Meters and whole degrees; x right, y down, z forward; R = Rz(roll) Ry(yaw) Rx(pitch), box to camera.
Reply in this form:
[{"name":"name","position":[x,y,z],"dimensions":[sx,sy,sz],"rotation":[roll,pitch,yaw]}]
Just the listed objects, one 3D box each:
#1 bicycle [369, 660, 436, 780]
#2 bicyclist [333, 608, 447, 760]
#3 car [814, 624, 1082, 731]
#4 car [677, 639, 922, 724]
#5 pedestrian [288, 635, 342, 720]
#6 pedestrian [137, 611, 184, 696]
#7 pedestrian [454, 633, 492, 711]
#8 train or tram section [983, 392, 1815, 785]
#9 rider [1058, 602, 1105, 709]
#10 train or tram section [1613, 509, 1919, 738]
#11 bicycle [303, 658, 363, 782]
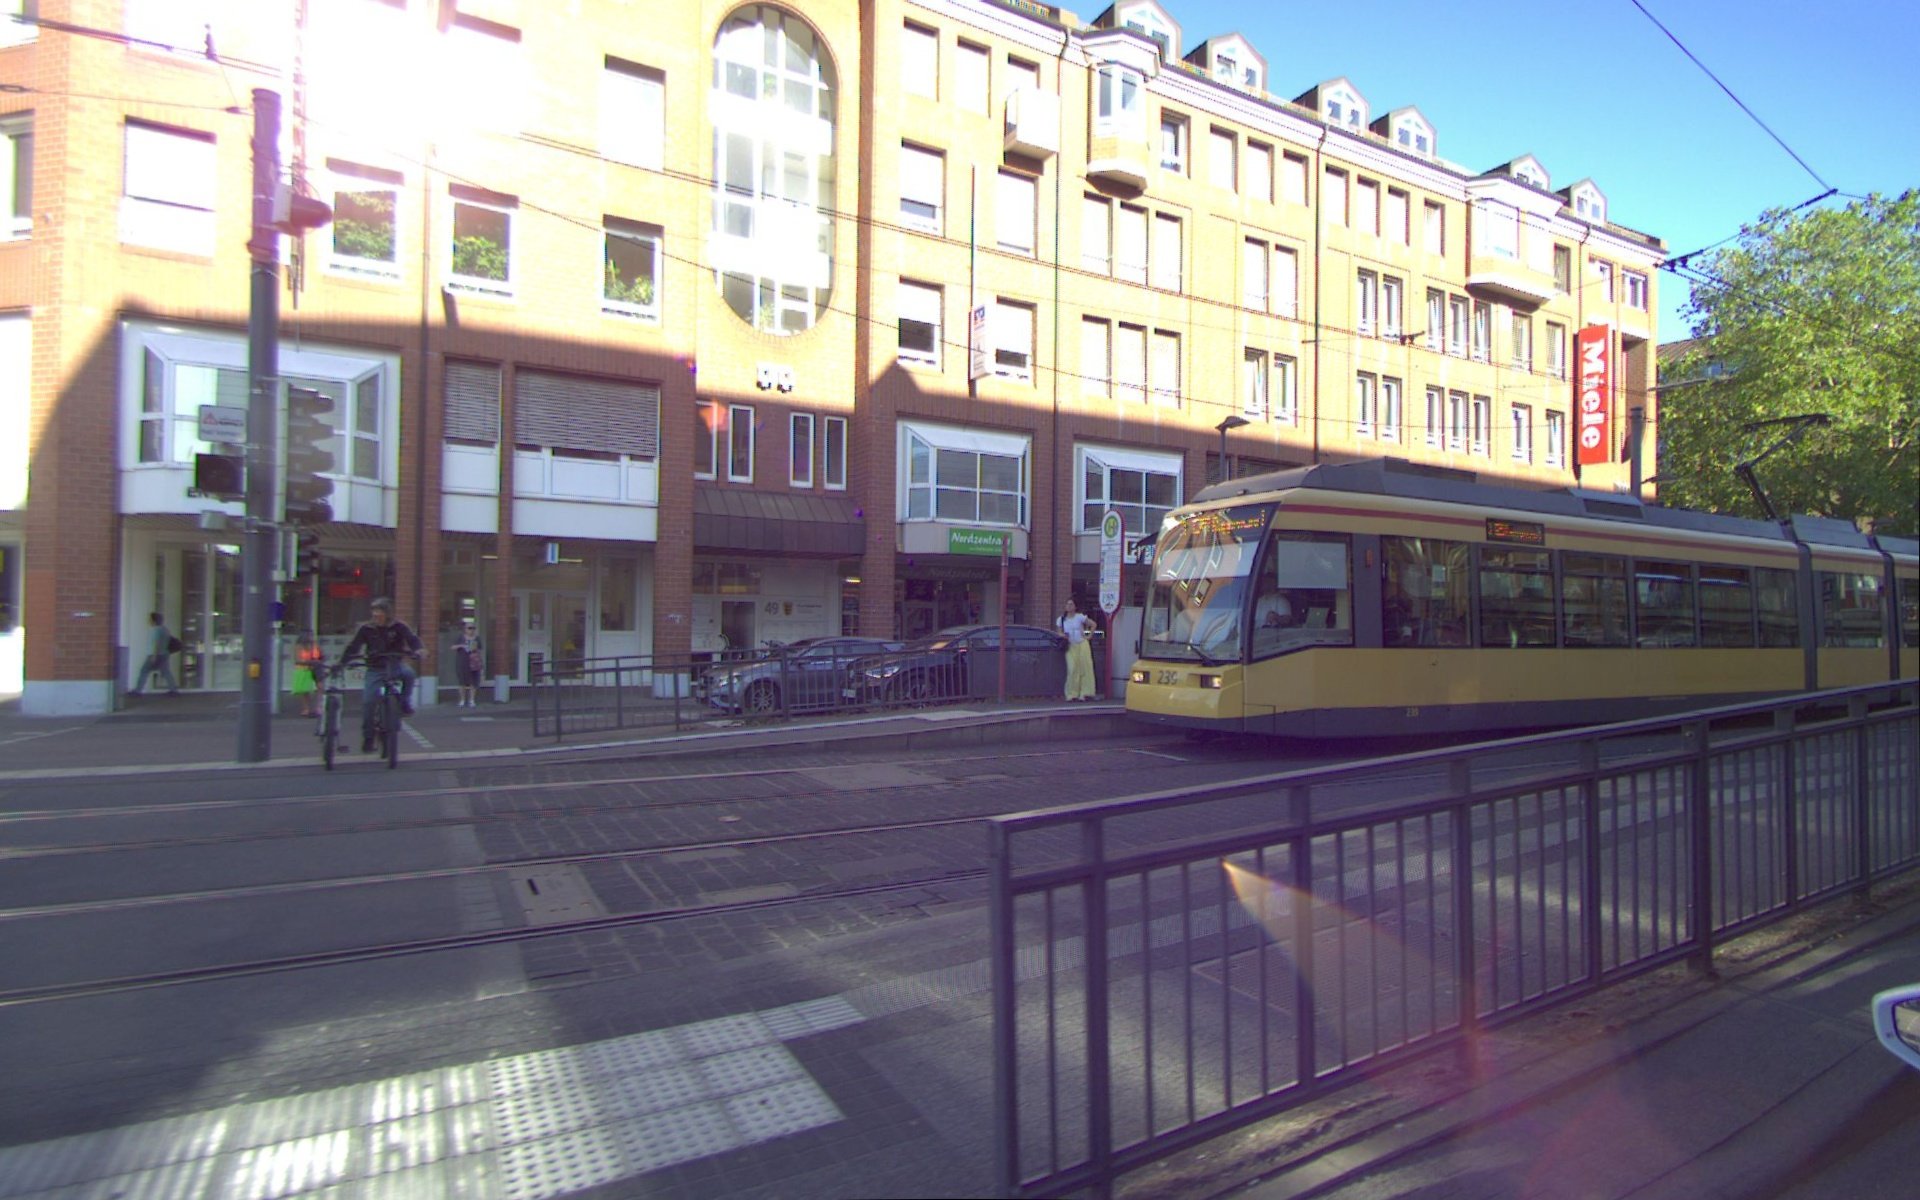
[{"name":"bicycle","position":[-5.517,1.136,9.909],"dimensions":[0.414,1.035,1.577],"rotation":[2,-2,-34]},{"name":"bicyclist","position":[-5.587,0.794,9.838],"dimensions":[0.892,1.398,0.743],"rotation":[2,-2,-34]},{"name":"car","position":[-0.173,1.243,16.656],"dimensions":[4.064,1.571,1.906],"rotation":[2,-3,-30]},{"name":"car","position":[-2.939,1.454,18.532],"dimensions":[4.064,1.413,1.906],"rotation":[2,-3,-30]},{"name":"pedestrian","position":[-11.297,1.341,17.592],"dimensions":[0.600,1.436,0.583],"rotation":[0,-2,36]},{"name":"pedestrian","position":[-15.450,1.020,19.413],"dimensions":[0.667,1.611,0.817],"rotation":[2,-2,-39]},{"name":"pedestrian","position":[-9.231,1.348,19.029],"dimensions":[0.574,1.436,0.517],"rotation":[2,-2,-32]},{"name":"train or tram section","position":[7.022,0.079,14.110],"dimensions":[13.775,3.693,2.961],"rotation":[2,0,-29]},{"name":"rider","position":[1.844,0.833,15.238],"dimensions":[0.671,1.570,0.571],"rotation":[1,-1,7]},{"name":"train or tram section","position":[20.092,0.510,21.529],"dimensions":[16.284,3.693,2.961],"rotation":[1,0,-29]},{"name":"bicycle","position":[-6.043,1.105,9.655],"dimensions":[0.414,1.046,1.577],"rotation":[2,-2,-34]}]
